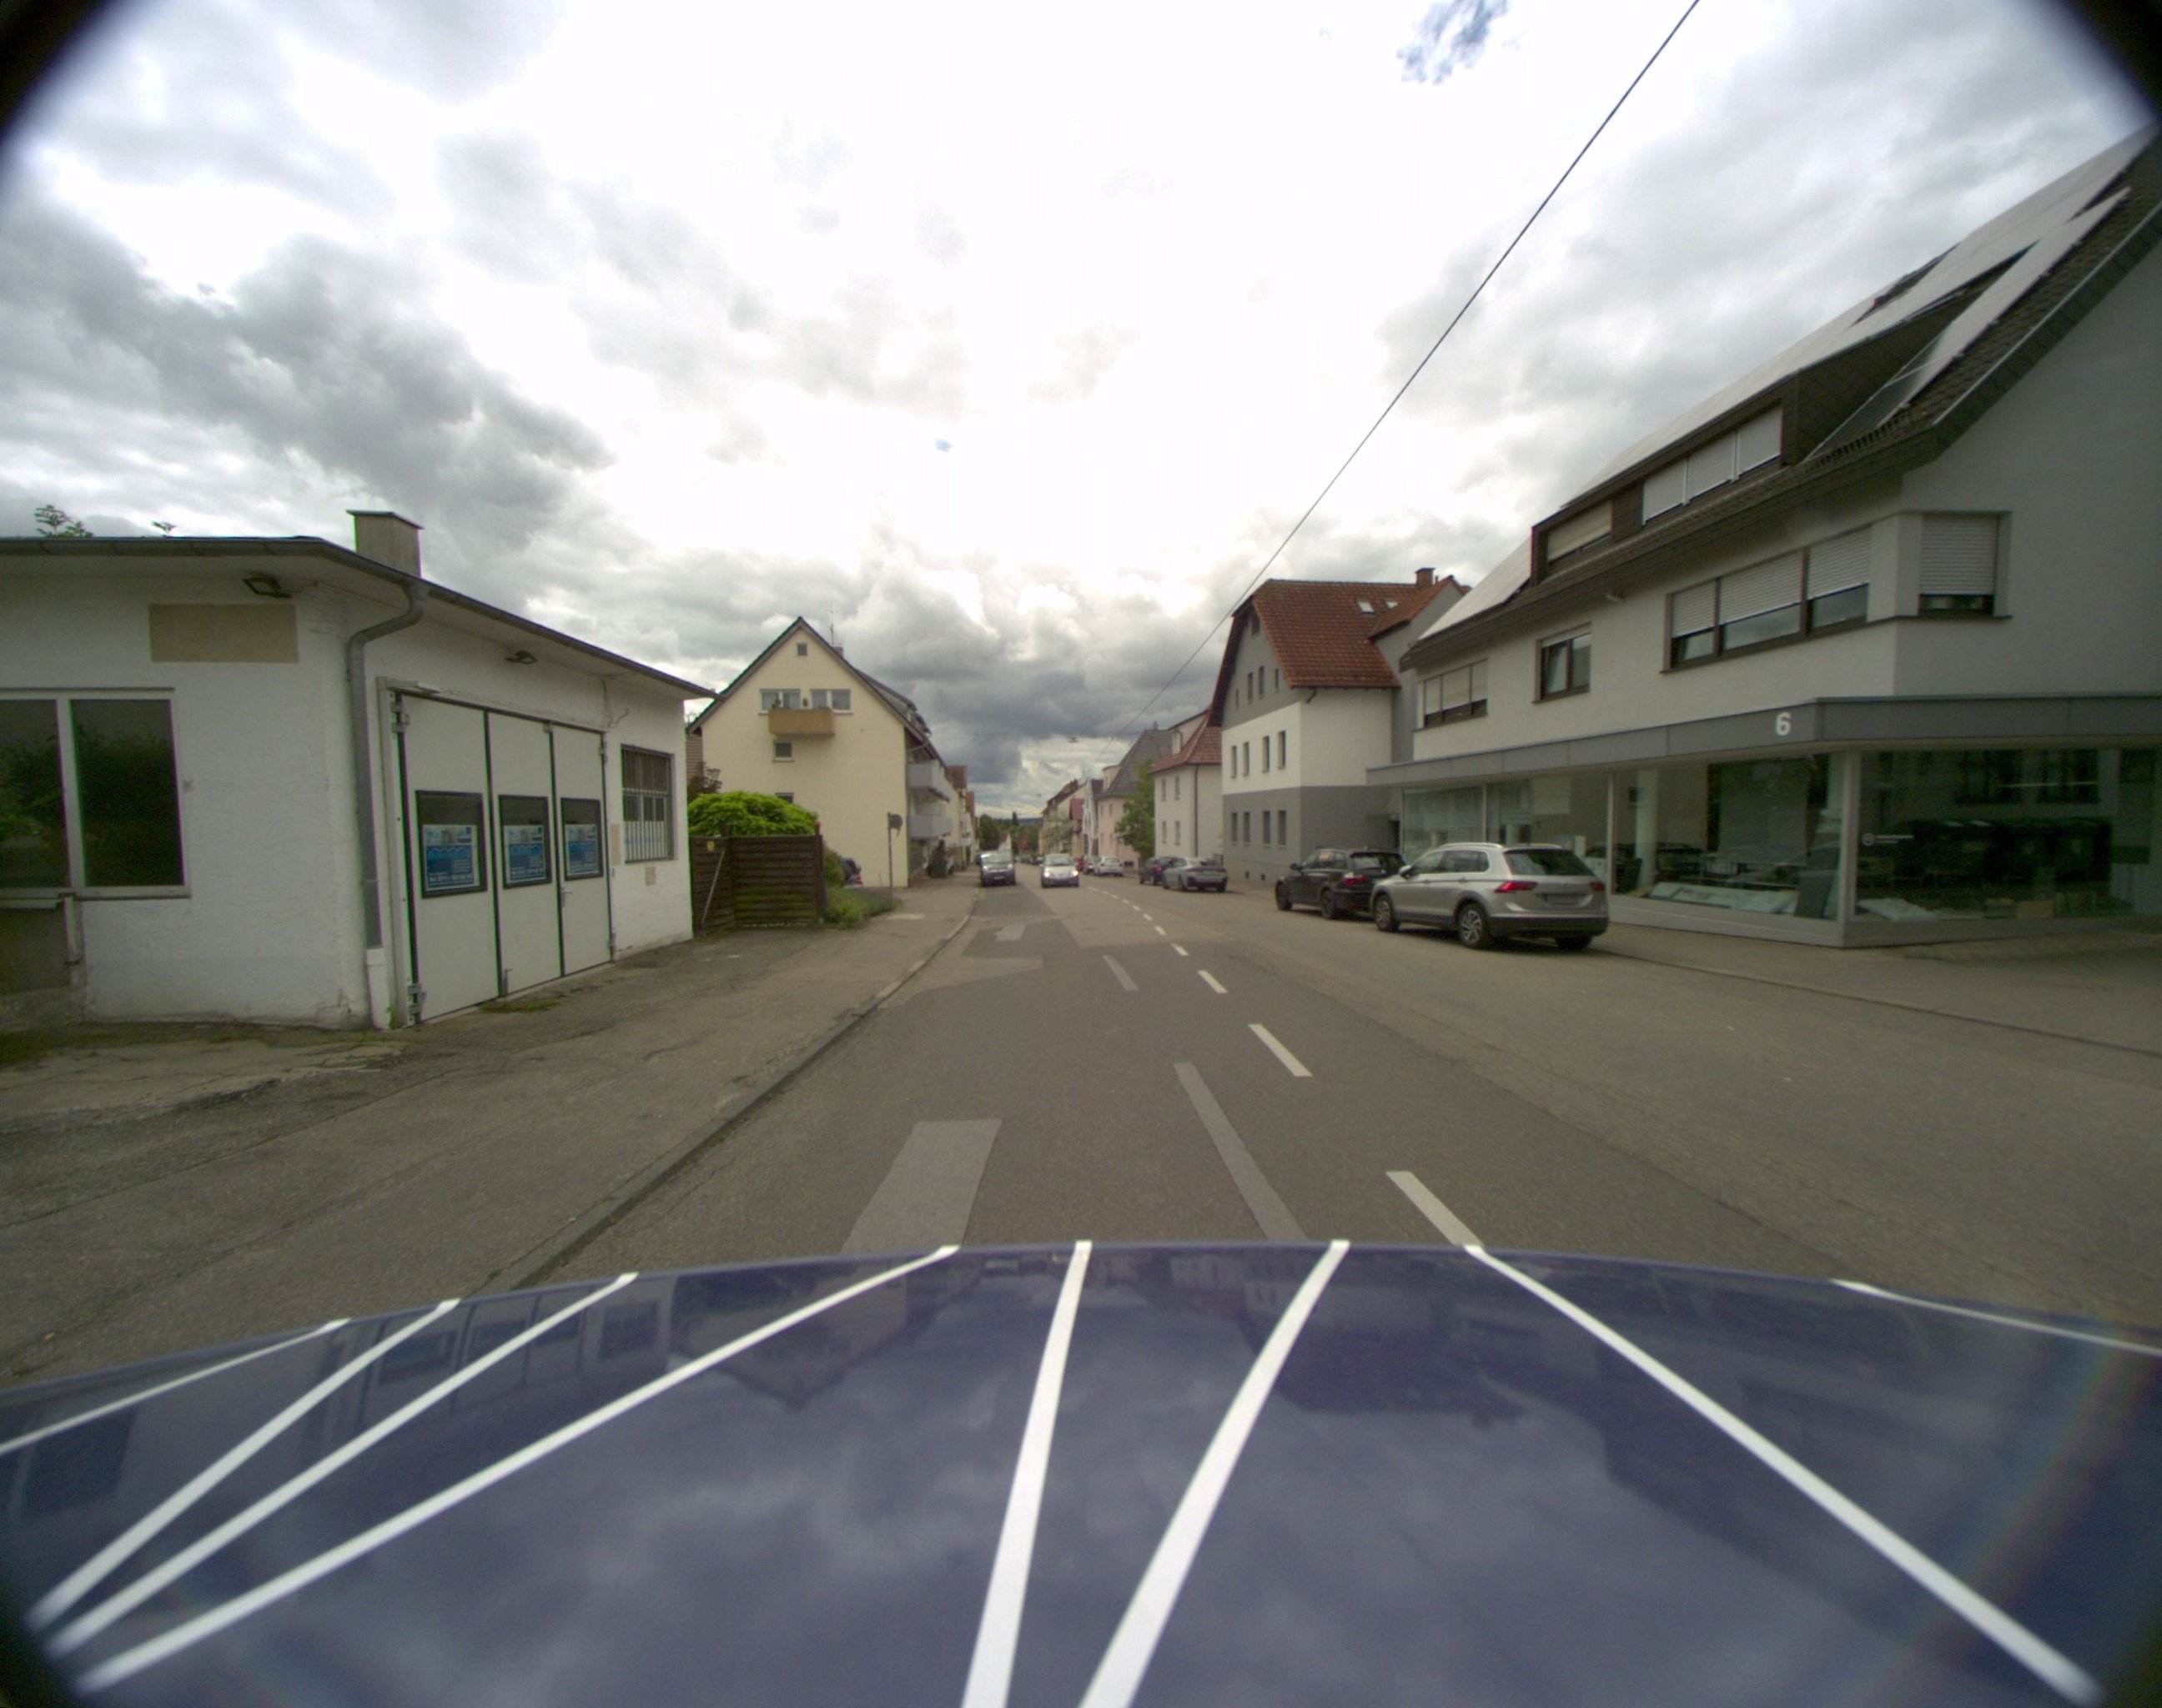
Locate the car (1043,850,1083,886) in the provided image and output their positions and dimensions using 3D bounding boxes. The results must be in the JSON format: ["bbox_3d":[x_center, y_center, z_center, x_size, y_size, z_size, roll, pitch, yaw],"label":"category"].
[{"bbox_3d":[-0.939,0.647,37.221,1.722,1.587,3.998,-3,1,-4],"label":"car"}]

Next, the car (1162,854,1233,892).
[{"bbox_3d":[4.822,0.744,32.113,1.843,1.437,4.464,1,0,-7],"label":"car"}]

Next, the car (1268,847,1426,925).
[{"bbox_3d":[6.164,0.669,18.215,1.843,1.623,4.405,0,0,-6],"label":"car"}]

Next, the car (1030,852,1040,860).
[{"bbox_3d":[-9.092,0.459,149.344,1.707,1.524,3.733,2,0,-7],"label":"car"}]

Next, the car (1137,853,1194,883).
[{"bbox_3d":[4.221,0.669,38.642,1.843,1.437,3.996,1,0,-9],"label":"car"}]

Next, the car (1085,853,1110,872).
[{"bbox_3d":[1.298,0.629,60.251,1.654,1.438,3.772,0,0,-4],"label":"car"}]

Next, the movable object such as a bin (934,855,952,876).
[{"bbox_3d":[-9.857,0.818,54.206,1.083,1.428,1.259,-3,1,-7],"label":"movable object such as a bin"}]

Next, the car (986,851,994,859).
[{"bbox_3d":[-21.121,0.242,176.692,1.614,1.789,3.856,-3,1,-7],"label":"car"}]

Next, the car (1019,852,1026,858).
[{"bbox_3d":[-15.709,0.265,203.244,1.707,1.524,3.733,2,0,-7],"label":"car"}]

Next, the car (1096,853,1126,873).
[{"bbox_3d":[2.139,0.621,54.952,1.654,1.438,3.808,0,0,-7],"label":"car"}]

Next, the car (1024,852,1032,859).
[{"bbox_3d":[-11.852,0.326,170.201,1.707,1.524,3.733,2,0,-7],"label":"car"}]

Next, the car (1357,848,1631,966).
[{"bbox_3d":[6.548,0.729,12.743,1.843,1.623,4.405,0,0,-6],"label":"car"}]

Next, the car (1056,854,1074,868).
[{"bbox_3d":[-1.854,0.742,87.127,1.707,1.524,3.733,2,0,-7],"label":"car"}]

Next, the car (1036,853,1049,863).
[{"bbox_3d":[-6.275,0.622,123.977,1.707,1.524,3.733,2,0,-7],"label":"car"}]

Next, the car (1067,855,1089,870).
[{"bbox_3d":[-0.298,0.794,74.853,1.707,1.402,3.733,2,0,-7],"label":"car"}]

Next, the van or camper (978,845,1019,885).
[{"bbox_3d":[-4.667,0.584,42.520,2.000,2.002,5.060,-4,1,-8],"label":"van or camper"}]

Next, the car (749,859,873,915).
[{"bbox_3d":[-8.083,0.937,22.748,3.328,1.510,1.700,0,0,-26],"label":"car"}]
